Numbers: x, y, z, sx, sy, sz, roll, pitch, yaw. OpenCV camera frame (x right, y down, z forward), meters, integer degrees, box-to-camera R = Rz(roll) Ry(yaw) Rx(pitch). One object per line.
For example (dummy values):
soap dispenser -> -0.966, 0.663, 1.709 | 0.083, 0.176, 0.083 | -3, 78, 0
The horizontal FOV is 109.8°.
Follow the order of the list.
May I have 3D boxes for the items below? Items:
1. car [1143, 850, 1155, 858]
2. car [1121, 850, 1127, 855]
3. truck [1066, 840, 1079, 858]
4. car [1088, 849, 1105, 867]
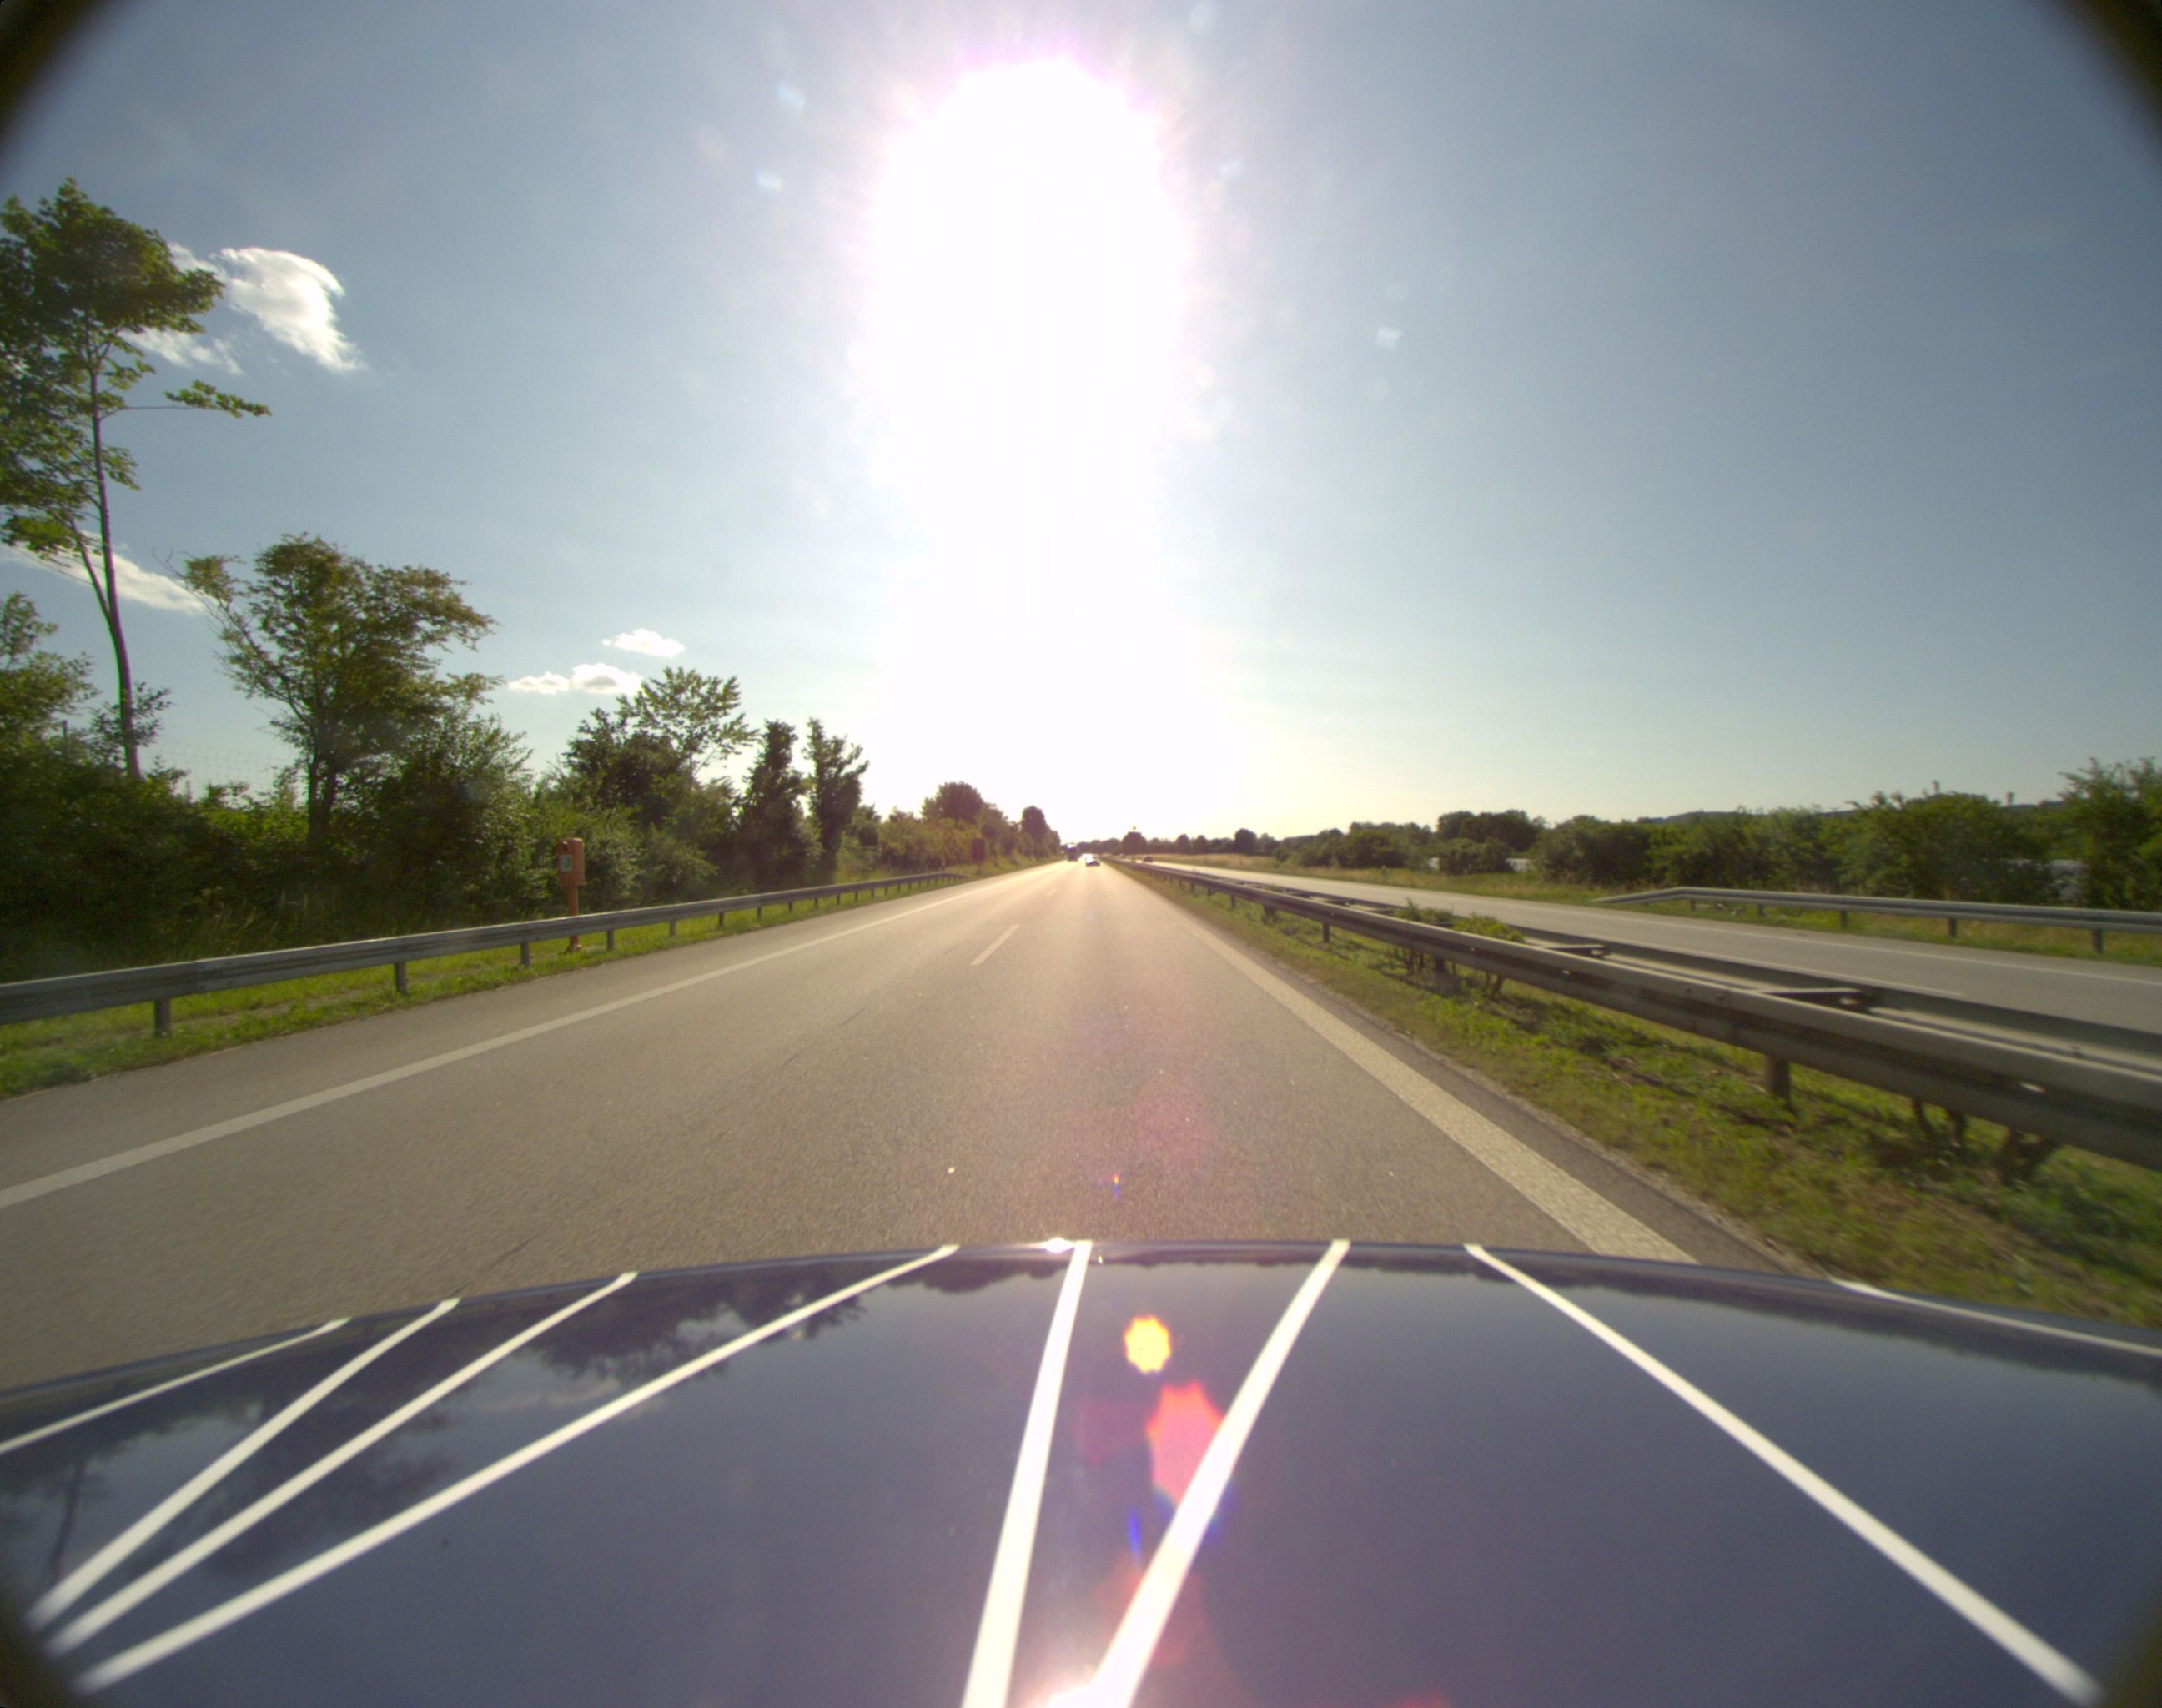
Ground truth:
car -> 12.895, -0.016, 145.132 | 1.837, 1.390, 4.922 | 2, 0, 0
car -> 14.777, -0.675, 259.862 | 1.907, 1.673, 4.731 | 0, 1, 1
truck -> -2.010, -1.151, 183.445 | 2.759, 4.242, 8.492 | -2, 1, 1
car -> 1.916, 0.459, 94.100 | 1.998, 2.002, 4.358 | -2, 1, 1
